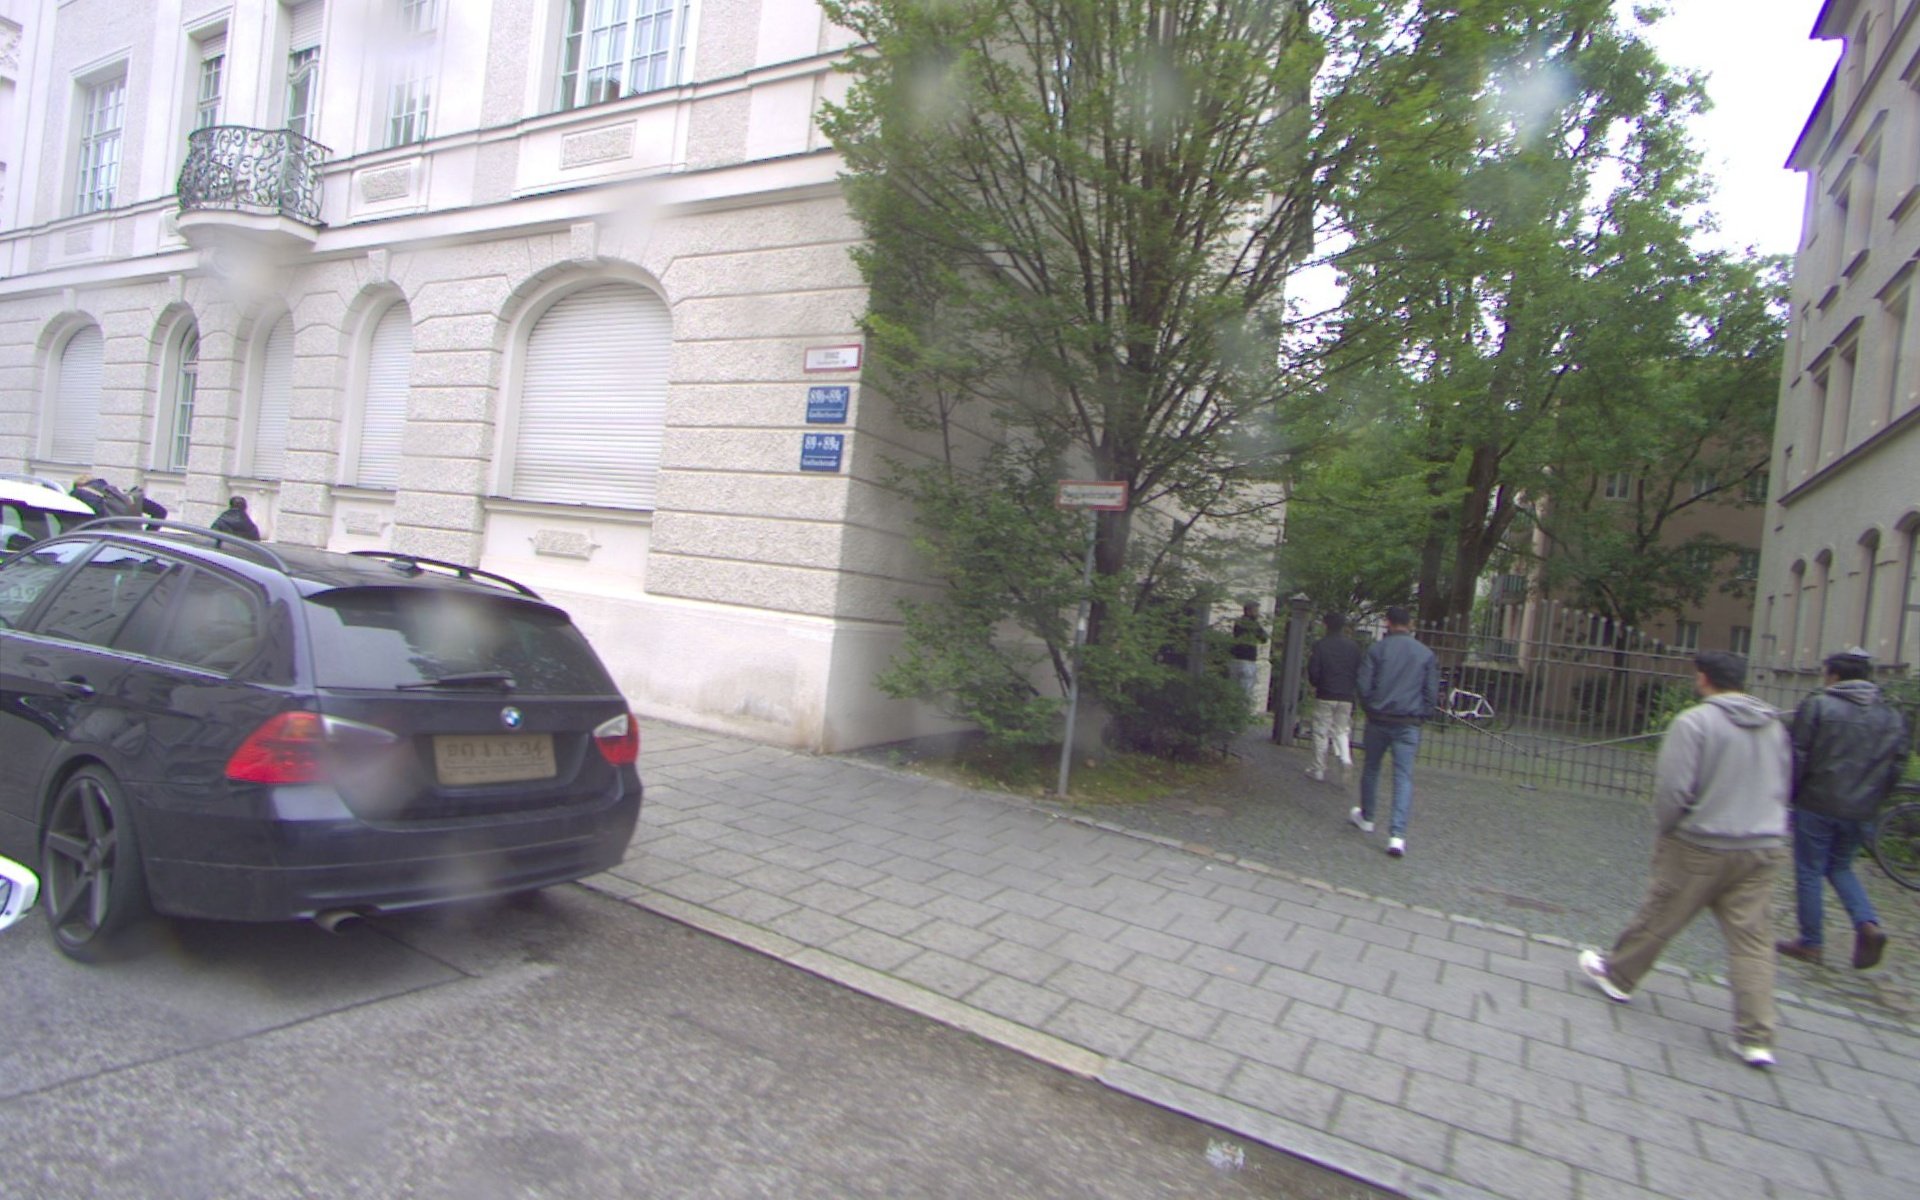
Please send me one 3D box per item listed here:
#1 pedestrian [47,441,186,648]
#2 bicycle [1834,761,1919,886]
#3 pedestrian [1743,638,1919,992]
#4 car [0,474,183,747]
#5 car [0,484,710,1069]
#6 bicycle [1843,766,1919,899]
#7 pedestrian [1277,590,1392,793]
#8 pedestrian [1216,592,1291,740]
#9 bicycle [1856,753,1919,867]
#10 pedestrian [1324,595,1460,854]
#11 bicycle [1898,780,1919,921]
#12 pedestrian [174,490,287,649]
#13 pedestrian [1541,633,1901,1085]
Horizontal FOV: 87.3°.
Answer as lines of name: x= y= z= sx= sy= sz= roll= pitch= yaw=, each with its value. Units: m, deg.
pedestrian: x=-7.875 y=-0.511 z=9.394 sx=0.840 sy=1.800 sz=0.682 roll=8 pitch=4 yaw=31
bicycle: x=8.156 y=1.922 z=8.429 sx=1.111 sy=0.919 sz=0.452 roll=7 pitch=1 yaw=32
pedestrian: x=5.053 y=1.163 z=5.717 sx=0.661 sy=1.791 sz=0.628 roll=8 pitch=1 yaw=31
car: x=-7.193 y=-0.172 z=6.647 sx=4.099 sy=1.543 sz=1.752 roll=8 pitch=0 yaw=30
car: x=-3.355 y=0.382 z=4.550 sx=4.152 sy=1.469 sz=1.715 roll=8 pitch=0 yaw=30
bicycle: x=7.652 y=1.855 z=7.758 sx=1.111 sy=0.919 sz=0.452 roll=7 pitch=1 yaw=32
pedestrian: x=3.734 y=0.880 z=10.007 sx=0.667 sy=1.842 sz=0.860 roll=11 pitch=4 yaw=29
pedestrian: x=3.777 y=0.840 z=13.000 sx=0.563 sy=1.817 sz=0.554 roll=7 pitch=1 yaw=-2
bicycle: x=8.788 y=1.928 z=8.911 sx=1.111 sy=0.919 sz=0.452 roll=7 pitch=1 yaw=32
pedestrian: x=3.335 y=0.923 z=7.735 sx=0.661 sy=1.791 sz=0.884 roll=8 pitch=1 yaw=29
bicycle: x=7.130 y=1.787 z=6.713 sx=1.111 sy=0.919 sz=0.452 roll=7 pitch=1 yaw=32
pedestrian: x=-8.383 y=-0.345 z=11.567 sx=0.798 sy=1.701 sz=0.682 roll=8 pitch=3 yaw=29
pedestrian: x=3.271 y=1.042 z=4.460 sx=0.850 sy=1.680 sz=0.852 roll=6 pitch=3 yaw=15
